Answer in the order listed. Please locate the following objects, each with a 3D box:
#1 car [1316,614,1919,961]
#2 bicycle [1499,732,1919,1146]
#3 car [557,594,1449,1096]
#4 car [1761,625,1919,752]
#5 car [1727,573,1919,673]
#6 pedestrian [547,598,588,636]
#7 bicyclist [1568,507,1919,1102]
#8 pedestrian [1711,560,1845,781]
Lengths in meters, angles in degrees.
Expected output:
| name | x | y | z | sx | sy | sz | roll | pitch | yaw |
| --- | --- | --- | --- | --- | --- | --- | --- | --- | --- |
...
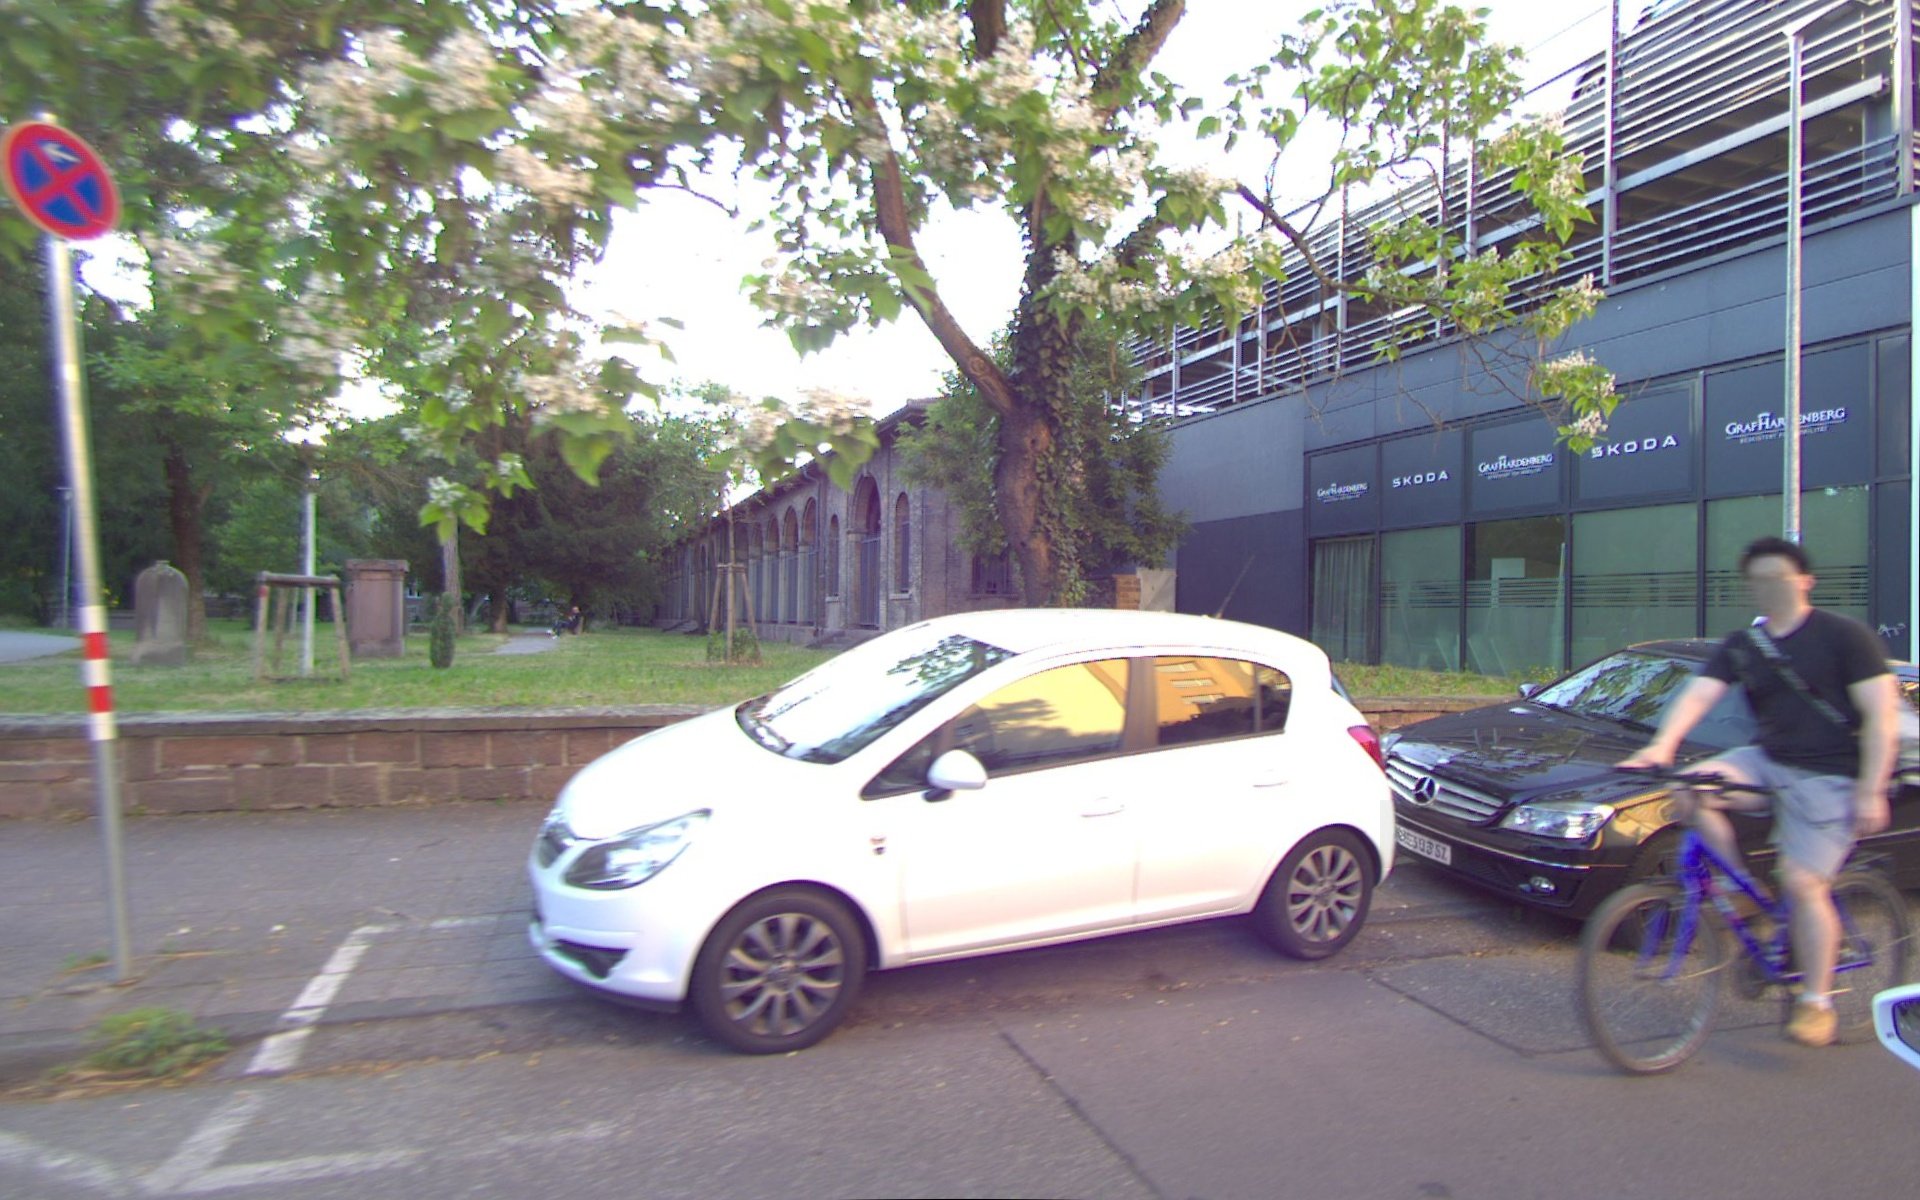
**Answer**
| name | x | y | z | sx | sy | sz | roll | pitch | yaw |
| --- | --- | --- | --- | --- | --- | --- | --- | --- | --- |
| car | 4.513 | 0.897 | 6.026 | 4.345 | 1.435 | 1.659 | 1 | 4 | -19 |
| bicycle | 2.953 | 1.082 | 3.643 | 1.837 | 1.111 | 0.758 | 2 | -3 | -22 |
| car | 0.195 | 0.788 | 4.702 | 3.830 | 1.535 | 1.657 | 0 | 2 | -24 |
| car | 13.900 | 1.219 | 14.704 | 3.815 | 1.672 | 1.592 | 1 | -1 | -18 |
| car | 16.142 | 0.432 | 18.297 | 3.679 | 1.680 | 1.696 | 1 | -1 | -18 |
| pedestrian | -15.083 | 0.644 | 38.609 | 1.259 | 1.445 | 1.235 | 0 | -1 | -12 |
| bicyclist | 2.983 | 0.640 | 3.682 | 1.001 | 1.832 | 0.857 | 0 | -1 | -20 |
| pedestrian | 7.391 | 0.614 | 9.093 | 0.610 | 1.903 | 0.721 | 0 | -1 | -17 |
